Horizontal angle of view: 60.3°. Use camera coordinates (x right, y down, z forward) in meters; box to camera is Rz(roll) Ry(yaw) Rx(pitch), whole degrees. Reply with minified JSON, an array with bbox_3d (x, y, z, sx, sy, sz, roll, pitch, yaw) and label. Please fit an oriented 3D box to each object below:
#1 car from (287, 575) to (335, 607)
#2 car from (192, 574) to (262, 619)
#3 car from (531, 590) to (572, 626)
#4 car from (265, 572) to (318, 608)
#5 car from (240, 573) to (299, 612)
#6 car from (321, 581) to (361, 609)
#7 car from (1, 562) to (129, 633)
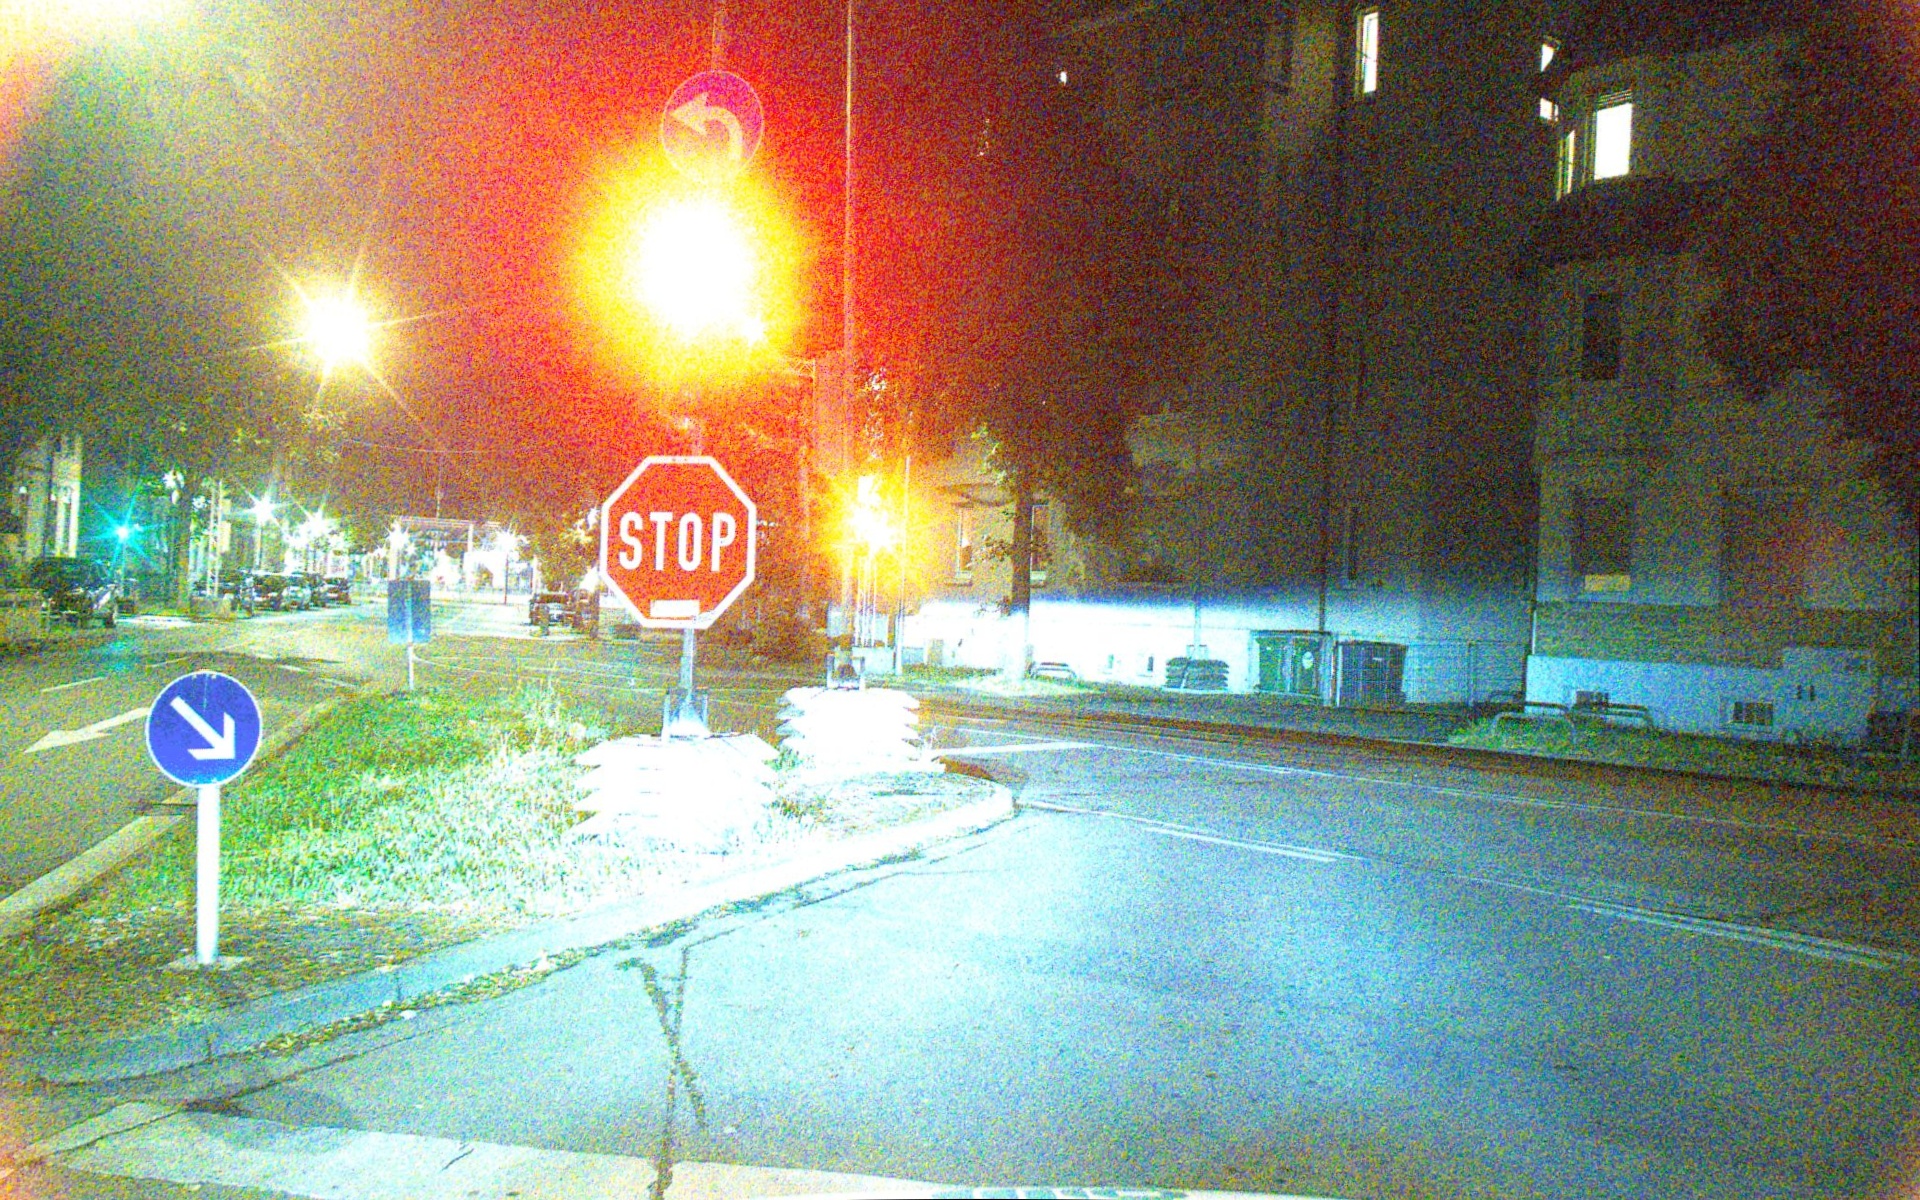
[{"bbox_3d":[-30.815,-0.432,78.593,1.624,1.456,3.983,2,0,-15],"label":"car"},{"bbox_3d":[-25.813,-0.130,58.311,1.624,1.456,3.983,2,0,-15],"label":"car"},{"bbox_3d":[-17.665,0.334,71.546,1.623,1.456,3.985,2,0,-14],"label":"car"},{"bbox_3d":[-29.144,-0.426,72.172,1.624,1.456,3.983,2,0,-15],"label":"car"},{"bbox_3d":[-27.577,-0.282,66.114,1.624,1.456,3.983,2,0,-15],"label":"car"},{"bbox_3d":[-34.338,-0.278,91.813,1.624,1.456,3.983,2,0,-15],"label":"car"},{"bbox_3d":[-20.161,-0.062,37.407,1.624,1.456,3.983,2,0,-15],"label":"car"}]
